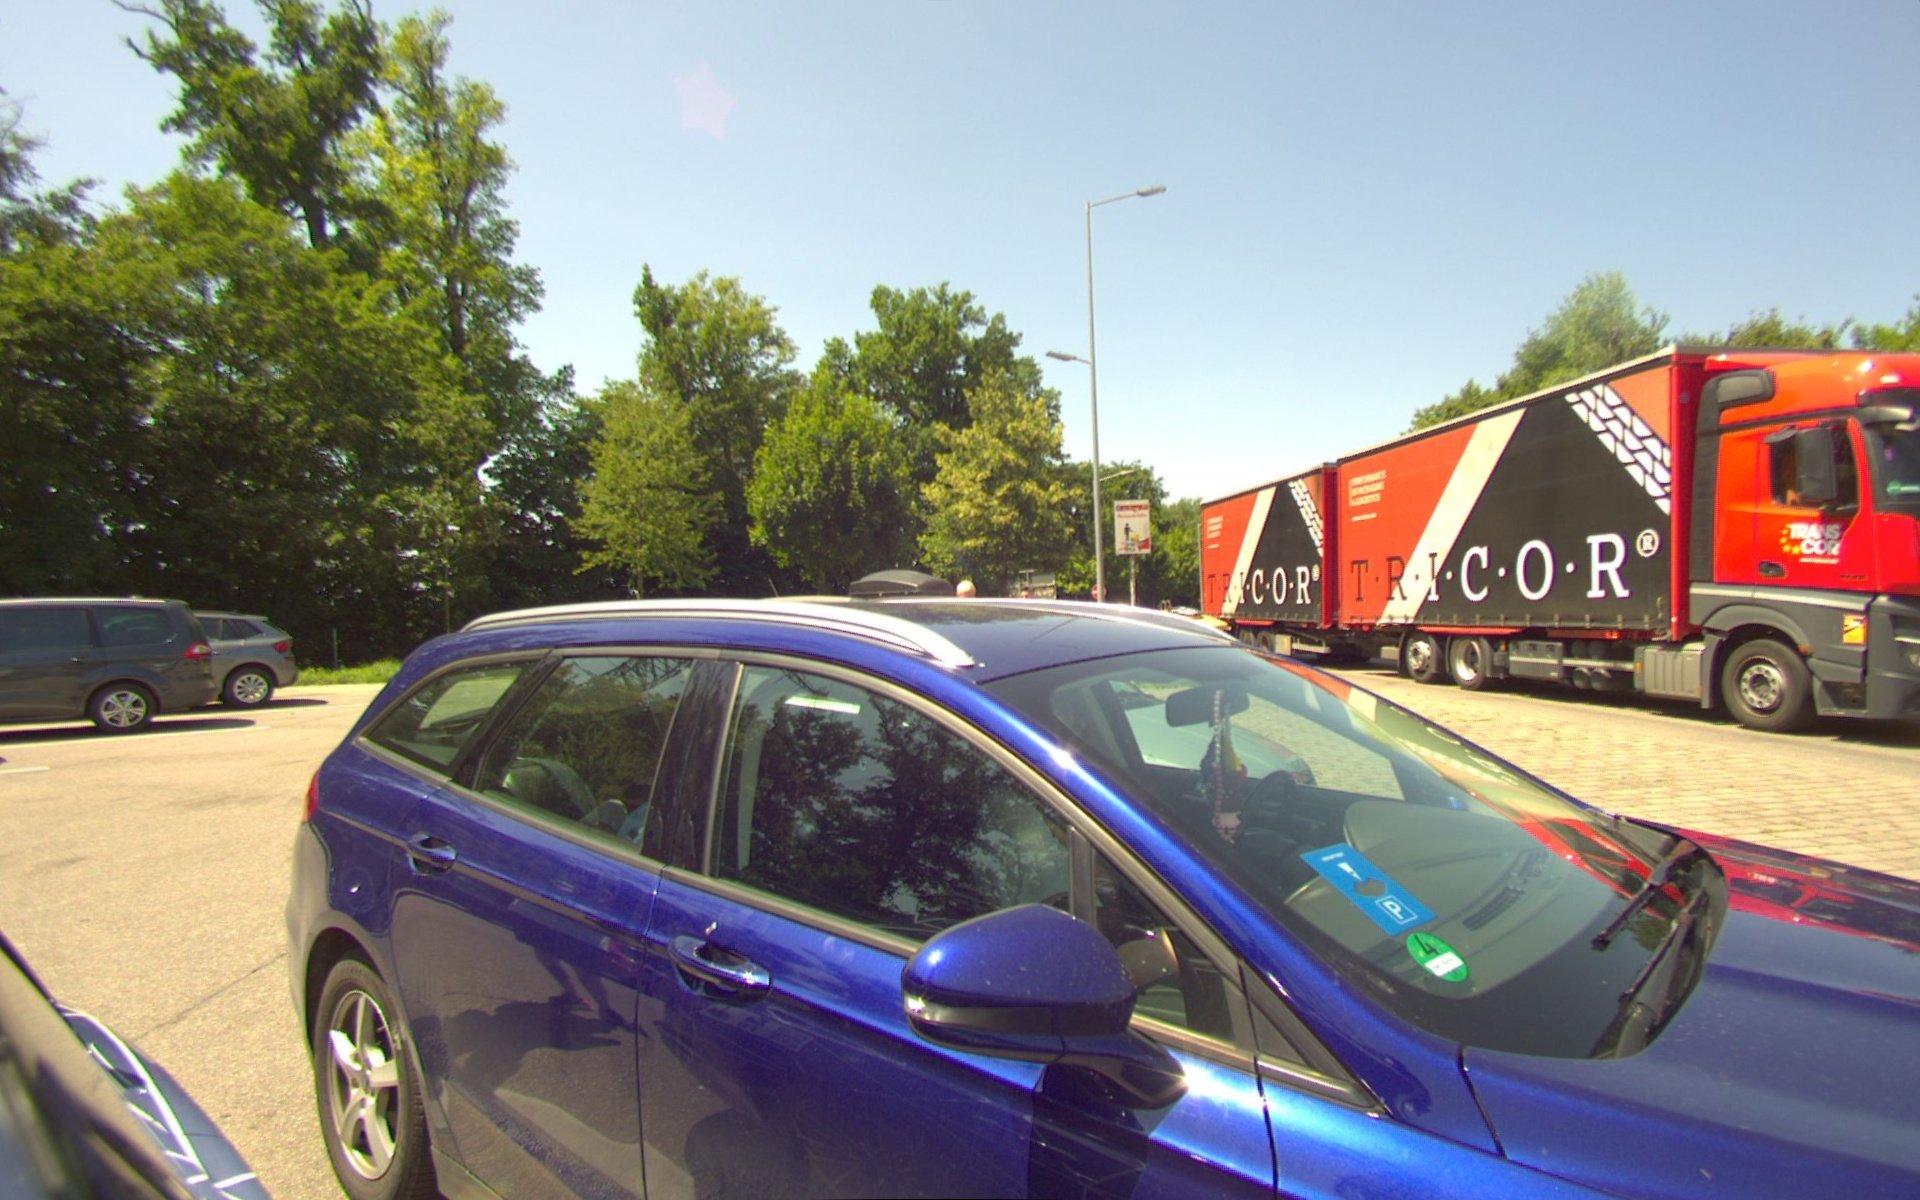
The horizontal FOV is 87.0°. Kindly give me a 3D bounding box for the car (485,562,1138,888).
[{"bbox_3d":[-1.235,0.636,6.721,4.466,1.476,1.756,-3,-1,40],"label":"car"}]

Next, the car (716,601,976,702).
[{"bbox_3d":[-2.024,0.834,17.099,4.466,1.476,1.756,-3,-1,40],"label":"car"}]

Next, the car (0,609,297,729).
[{"bbox_3d":[-12.723,0.980,15.620,3.910,1.598,1.782,-1,-1,-43],"label":"car"}]

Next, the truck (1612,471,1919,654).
[{"bbox_3d":[16.831,-0.640,19.023,7.347,3.152,2.339,-3,-2,41],"label":"truck"}]

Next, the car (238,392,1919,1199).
[{"bbox_3d":[0.229,0.636,2.114,4.466,1.476,1.756,-3,-1,40],"label":"car"}]

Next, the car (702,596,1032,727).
[{"bbox_3d":[-1.372,0.762,13.545,4.466,1.476,1.756,-3,-1,40],"label":"car"}]

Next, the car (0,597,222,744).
[{"bbox_3d":[-11.694,0.855,12.569,3.910,1.701,1.782,-1,-1,-43],"label":"car"}]

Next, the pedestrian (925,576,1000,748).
[{"bbox_3d":[0.037,0.592,9.963,0.663,1.614,0.759,-2,-1,2],"label":"pedestrian"}]

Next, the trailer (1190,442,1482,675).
[{"bbox_3d":[7.974,-0.715,23.157,2.800,4.290,8.692,-1,-1,-4],"label":"trailer"}]

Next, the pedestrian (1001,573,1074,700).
[{"bbox_3d":[1.056,0.488,13.813,0.638,1.662,0.717,-1,-2,-43],"label":"pedestrian"}]

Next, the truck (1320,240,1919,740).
[{"bbox_3d":[8.679,-0.853,13.785,2.652,4.159,10.618,-1,-1,-6],"label":"truck"}]
